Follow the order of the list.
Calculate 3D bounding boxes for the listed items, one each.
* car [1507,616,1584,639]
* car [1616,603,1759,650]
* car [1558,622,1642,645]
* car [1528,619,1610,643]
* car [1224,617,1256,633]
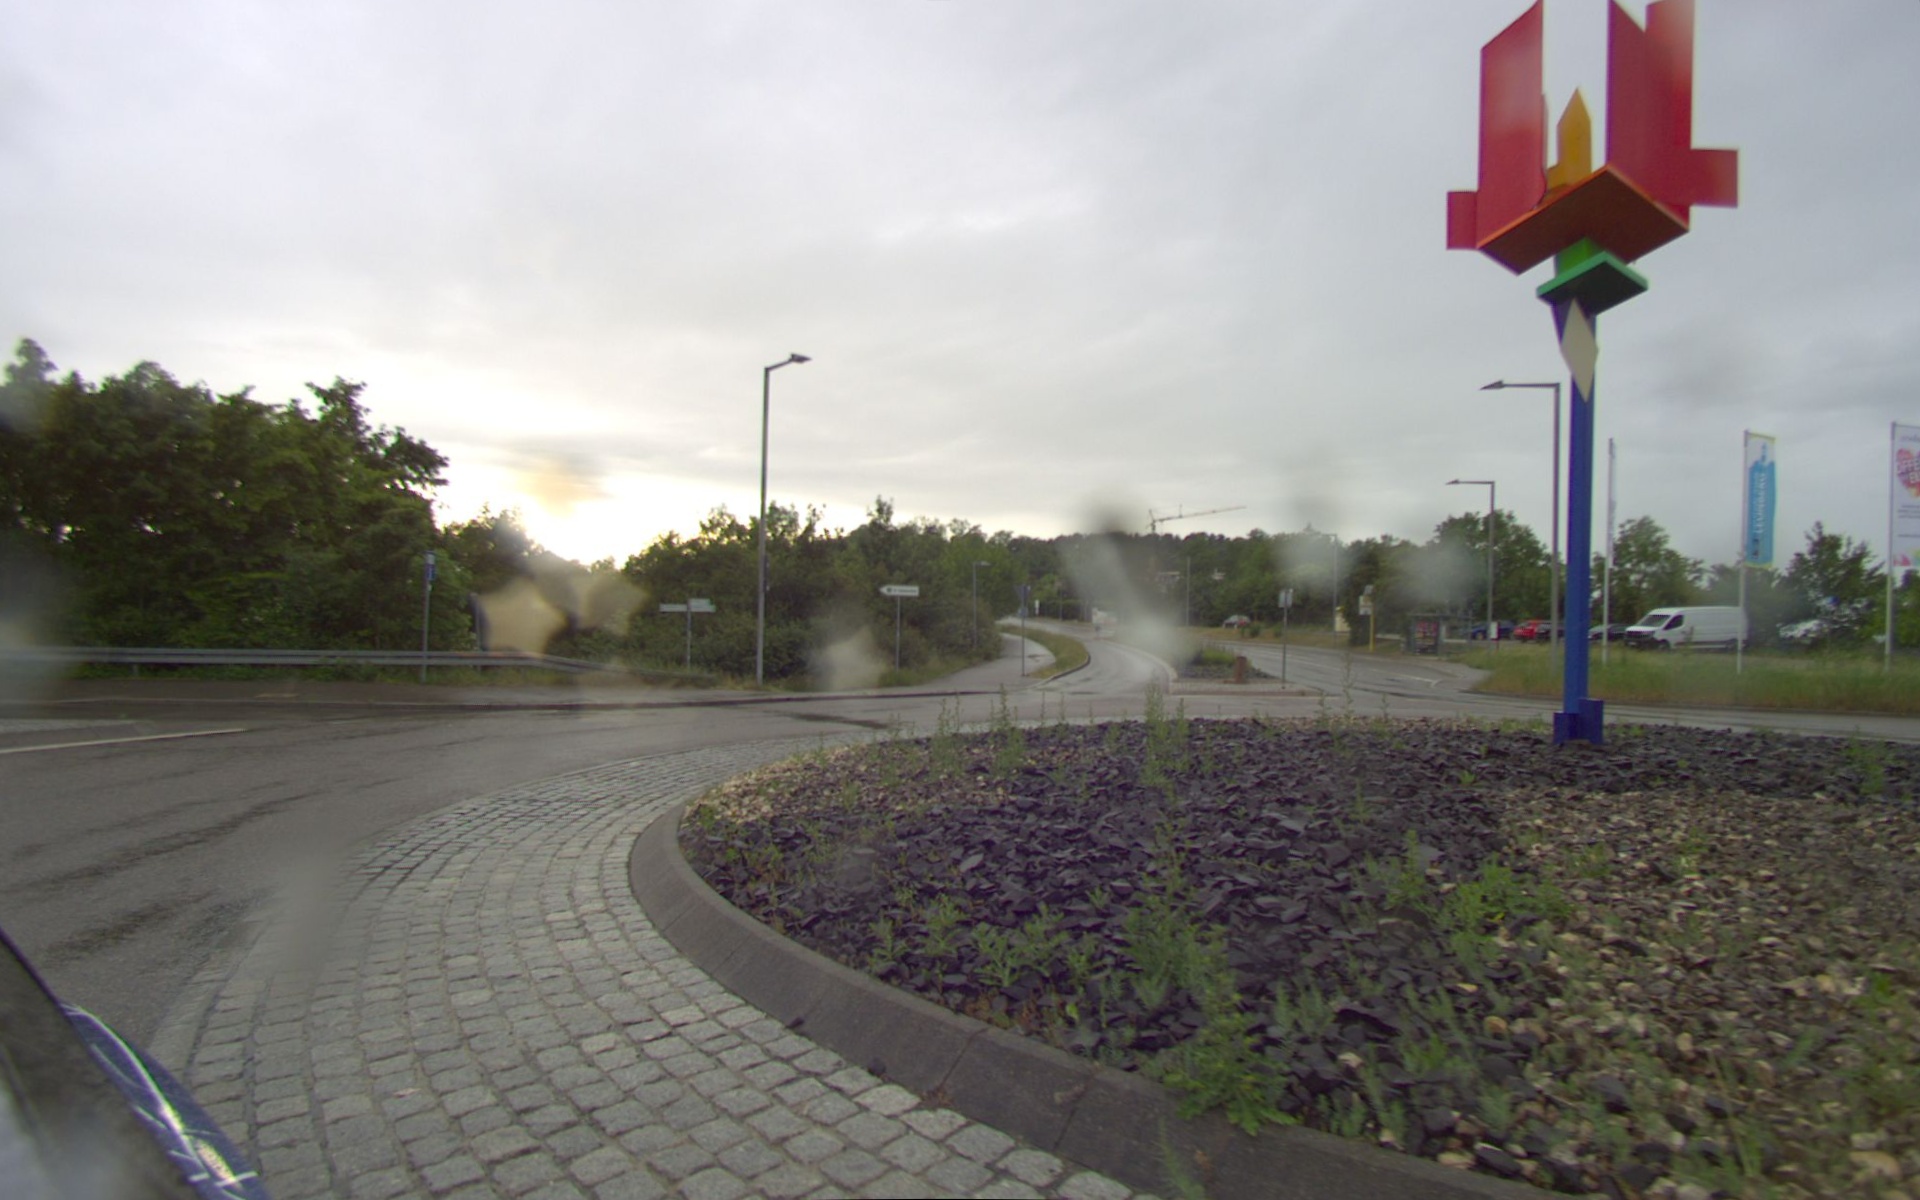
[{"bbox_3d":[38.166,1.780,65.997,3.942,1.480,1.849,1,-1,-2],"label":"car"},{"bbox_3d":[39.437,1.400,54.930,6.475,2.415,2.142,0,1,-6],"label":"car"},{"bbox_3d":[38.164,1.992,60.424,3.943,1.374,1.653,0,-1,-1],"label":"car"},{"bbox_3d":[37.709,1.919,62.696,3.943,1.374,1.848,1,-1,0],"label":"car"},{"bbox_3d":[28.769,2.599,104.105,1.671,1.580,4.545,-2,-2,-4],"label":"car"}]
